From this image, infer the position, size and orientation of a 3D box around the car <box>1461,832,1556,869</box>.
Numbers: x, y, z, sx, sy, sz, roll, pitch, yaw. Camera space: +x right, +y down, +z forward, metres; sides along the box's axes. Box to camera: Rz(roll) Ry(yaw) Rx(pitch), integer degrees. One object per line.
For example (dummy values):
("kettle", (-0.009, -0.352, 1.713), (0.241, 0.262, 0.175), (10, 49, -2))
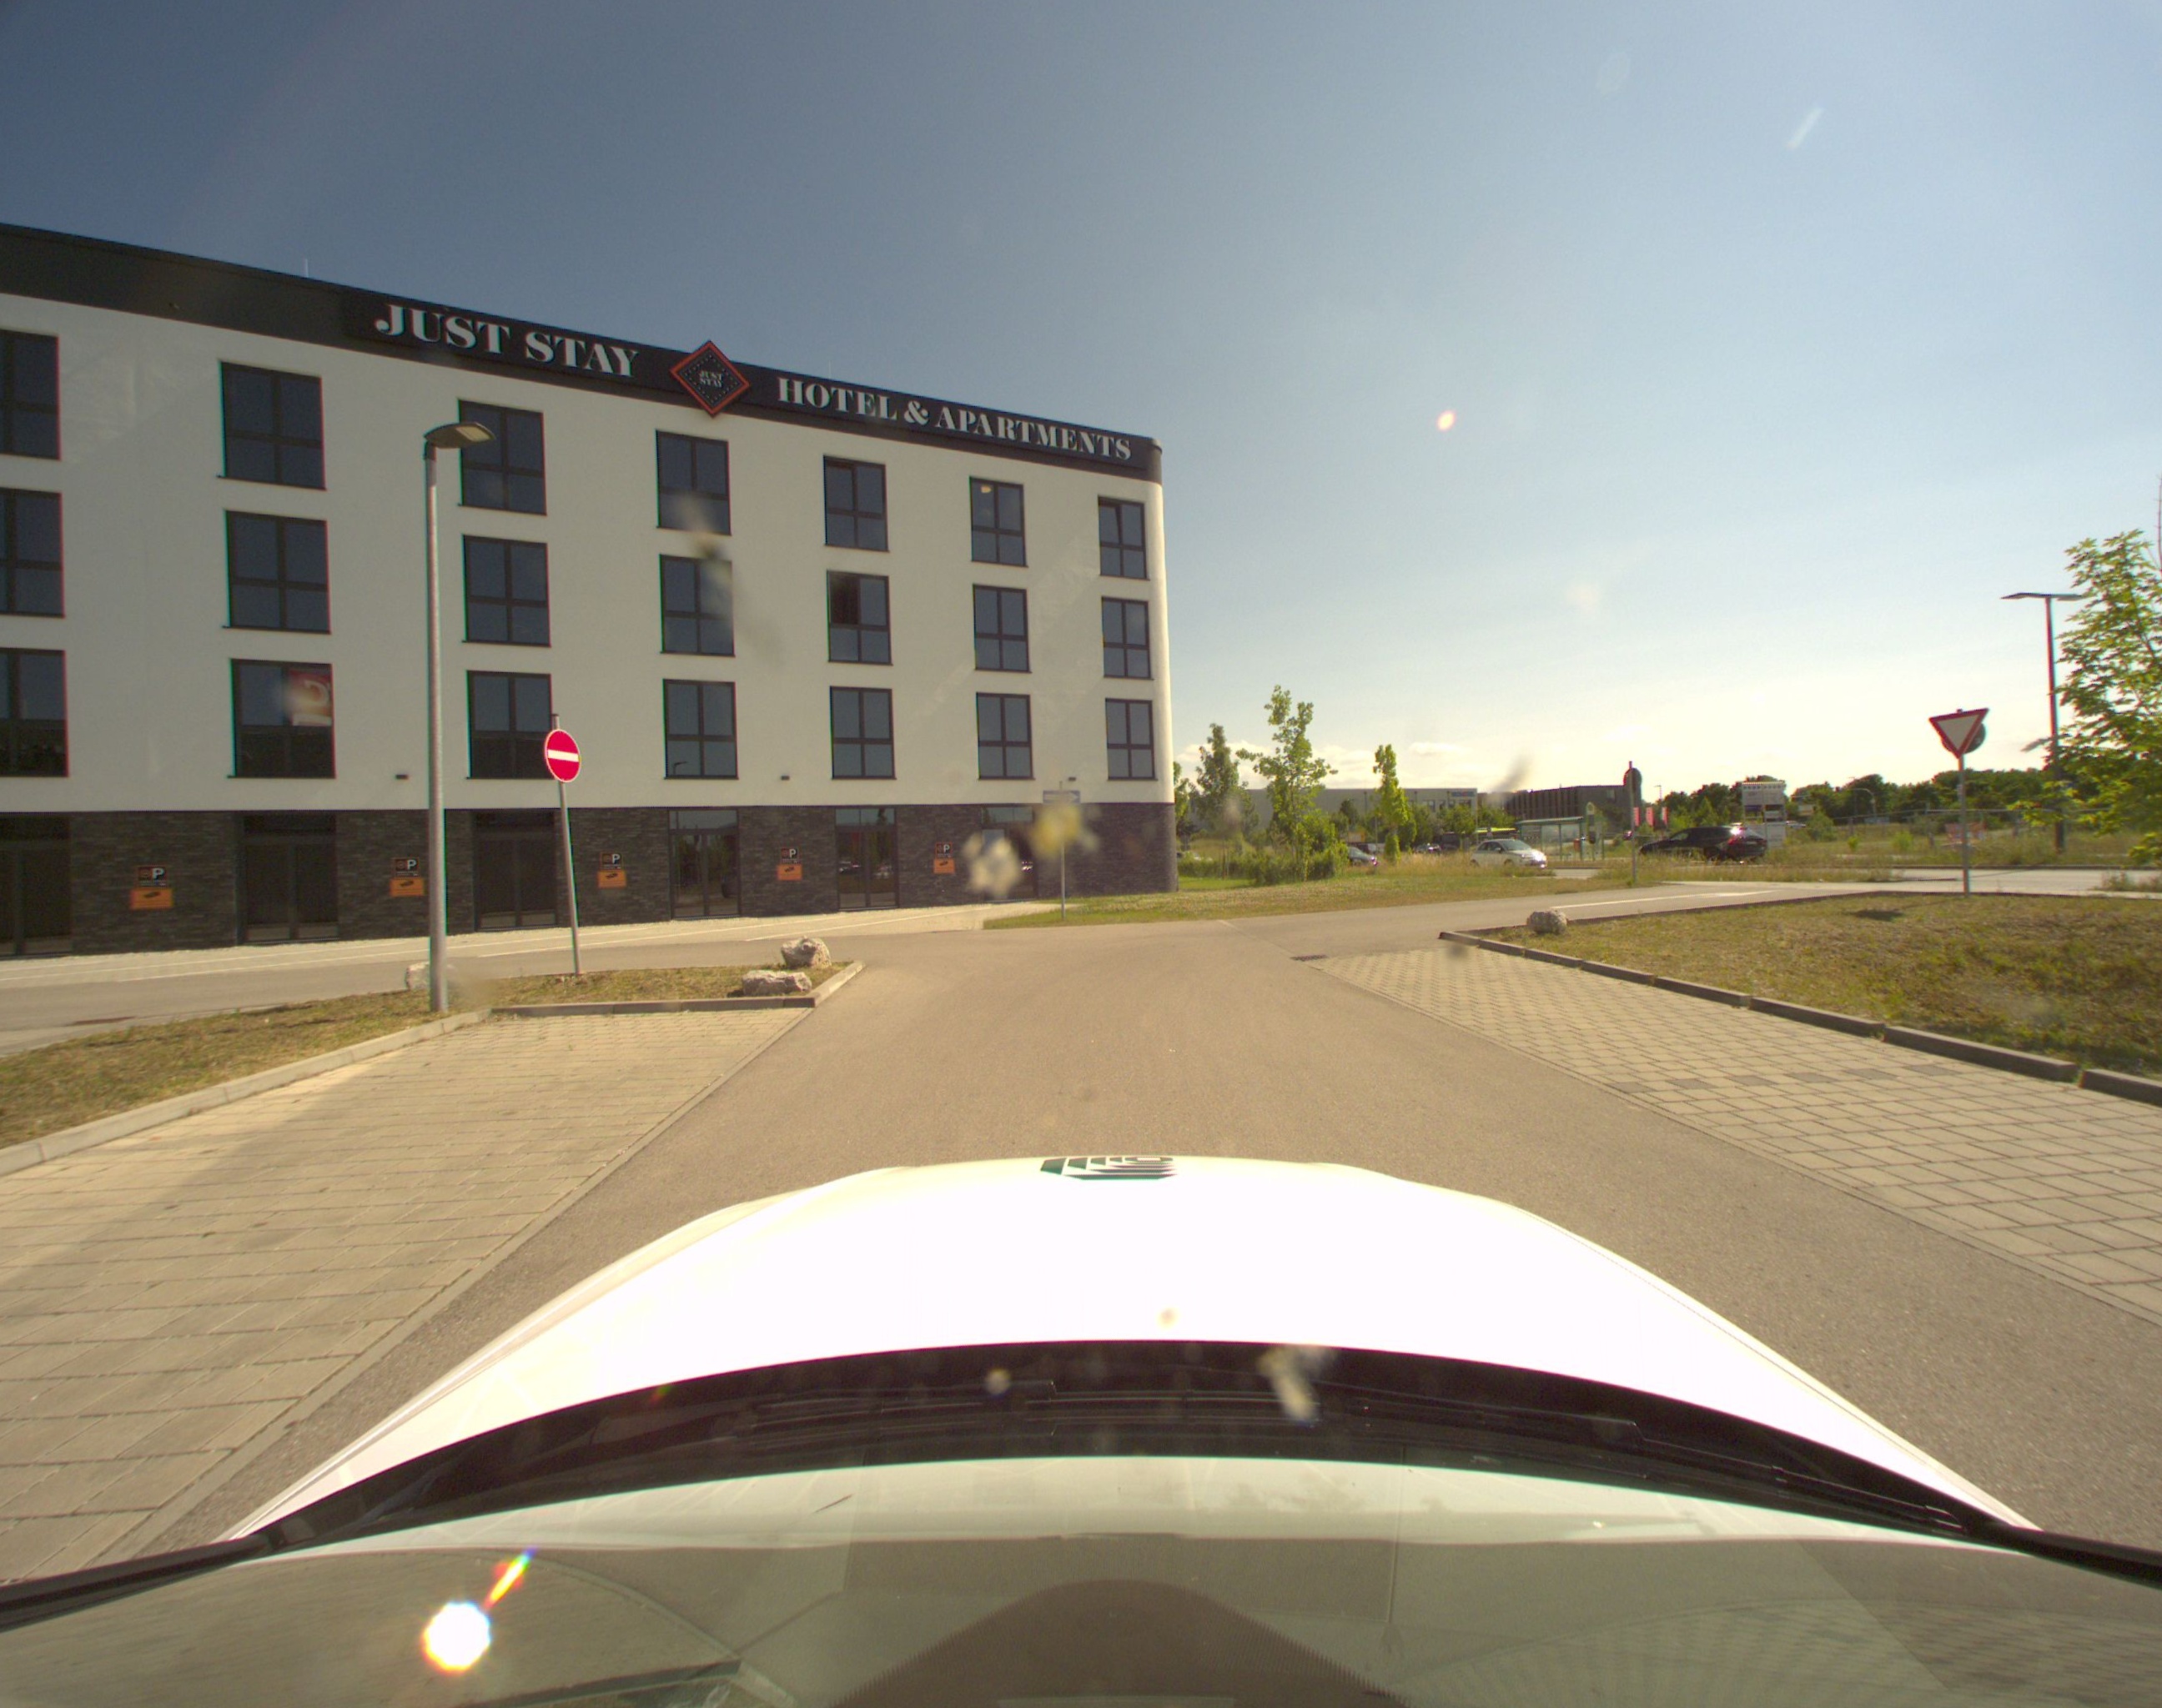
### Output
("car", (19.063, -0.149, 36.501), (1.738, 1.551, 3.767), (-1, 0, -13))

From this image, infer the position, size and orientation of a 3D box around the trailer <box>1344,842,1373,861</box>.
("trailer", (28.217, -0.253, 82.793), (1.804, 1.859, 4.026), (-1, 0, 33))

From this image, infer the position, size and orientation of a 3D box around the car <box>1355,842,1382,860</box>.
("car", (30.416, -0.325, 86.158), (1.804, 1.859, 4.026), (-1, 0, 33))

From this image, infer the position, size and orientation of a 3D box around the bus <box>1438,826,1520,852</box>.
("bus", (48.515, -1.832, 99.047), (11.598, 2.735, 2.557), (-2, 0, -28))

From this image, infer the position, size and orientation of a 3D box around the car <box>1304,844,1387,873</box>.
("car", (15.556, 0.269, 48.046), (1.924, 1.551, 4.338), (-2, 0, -39))
